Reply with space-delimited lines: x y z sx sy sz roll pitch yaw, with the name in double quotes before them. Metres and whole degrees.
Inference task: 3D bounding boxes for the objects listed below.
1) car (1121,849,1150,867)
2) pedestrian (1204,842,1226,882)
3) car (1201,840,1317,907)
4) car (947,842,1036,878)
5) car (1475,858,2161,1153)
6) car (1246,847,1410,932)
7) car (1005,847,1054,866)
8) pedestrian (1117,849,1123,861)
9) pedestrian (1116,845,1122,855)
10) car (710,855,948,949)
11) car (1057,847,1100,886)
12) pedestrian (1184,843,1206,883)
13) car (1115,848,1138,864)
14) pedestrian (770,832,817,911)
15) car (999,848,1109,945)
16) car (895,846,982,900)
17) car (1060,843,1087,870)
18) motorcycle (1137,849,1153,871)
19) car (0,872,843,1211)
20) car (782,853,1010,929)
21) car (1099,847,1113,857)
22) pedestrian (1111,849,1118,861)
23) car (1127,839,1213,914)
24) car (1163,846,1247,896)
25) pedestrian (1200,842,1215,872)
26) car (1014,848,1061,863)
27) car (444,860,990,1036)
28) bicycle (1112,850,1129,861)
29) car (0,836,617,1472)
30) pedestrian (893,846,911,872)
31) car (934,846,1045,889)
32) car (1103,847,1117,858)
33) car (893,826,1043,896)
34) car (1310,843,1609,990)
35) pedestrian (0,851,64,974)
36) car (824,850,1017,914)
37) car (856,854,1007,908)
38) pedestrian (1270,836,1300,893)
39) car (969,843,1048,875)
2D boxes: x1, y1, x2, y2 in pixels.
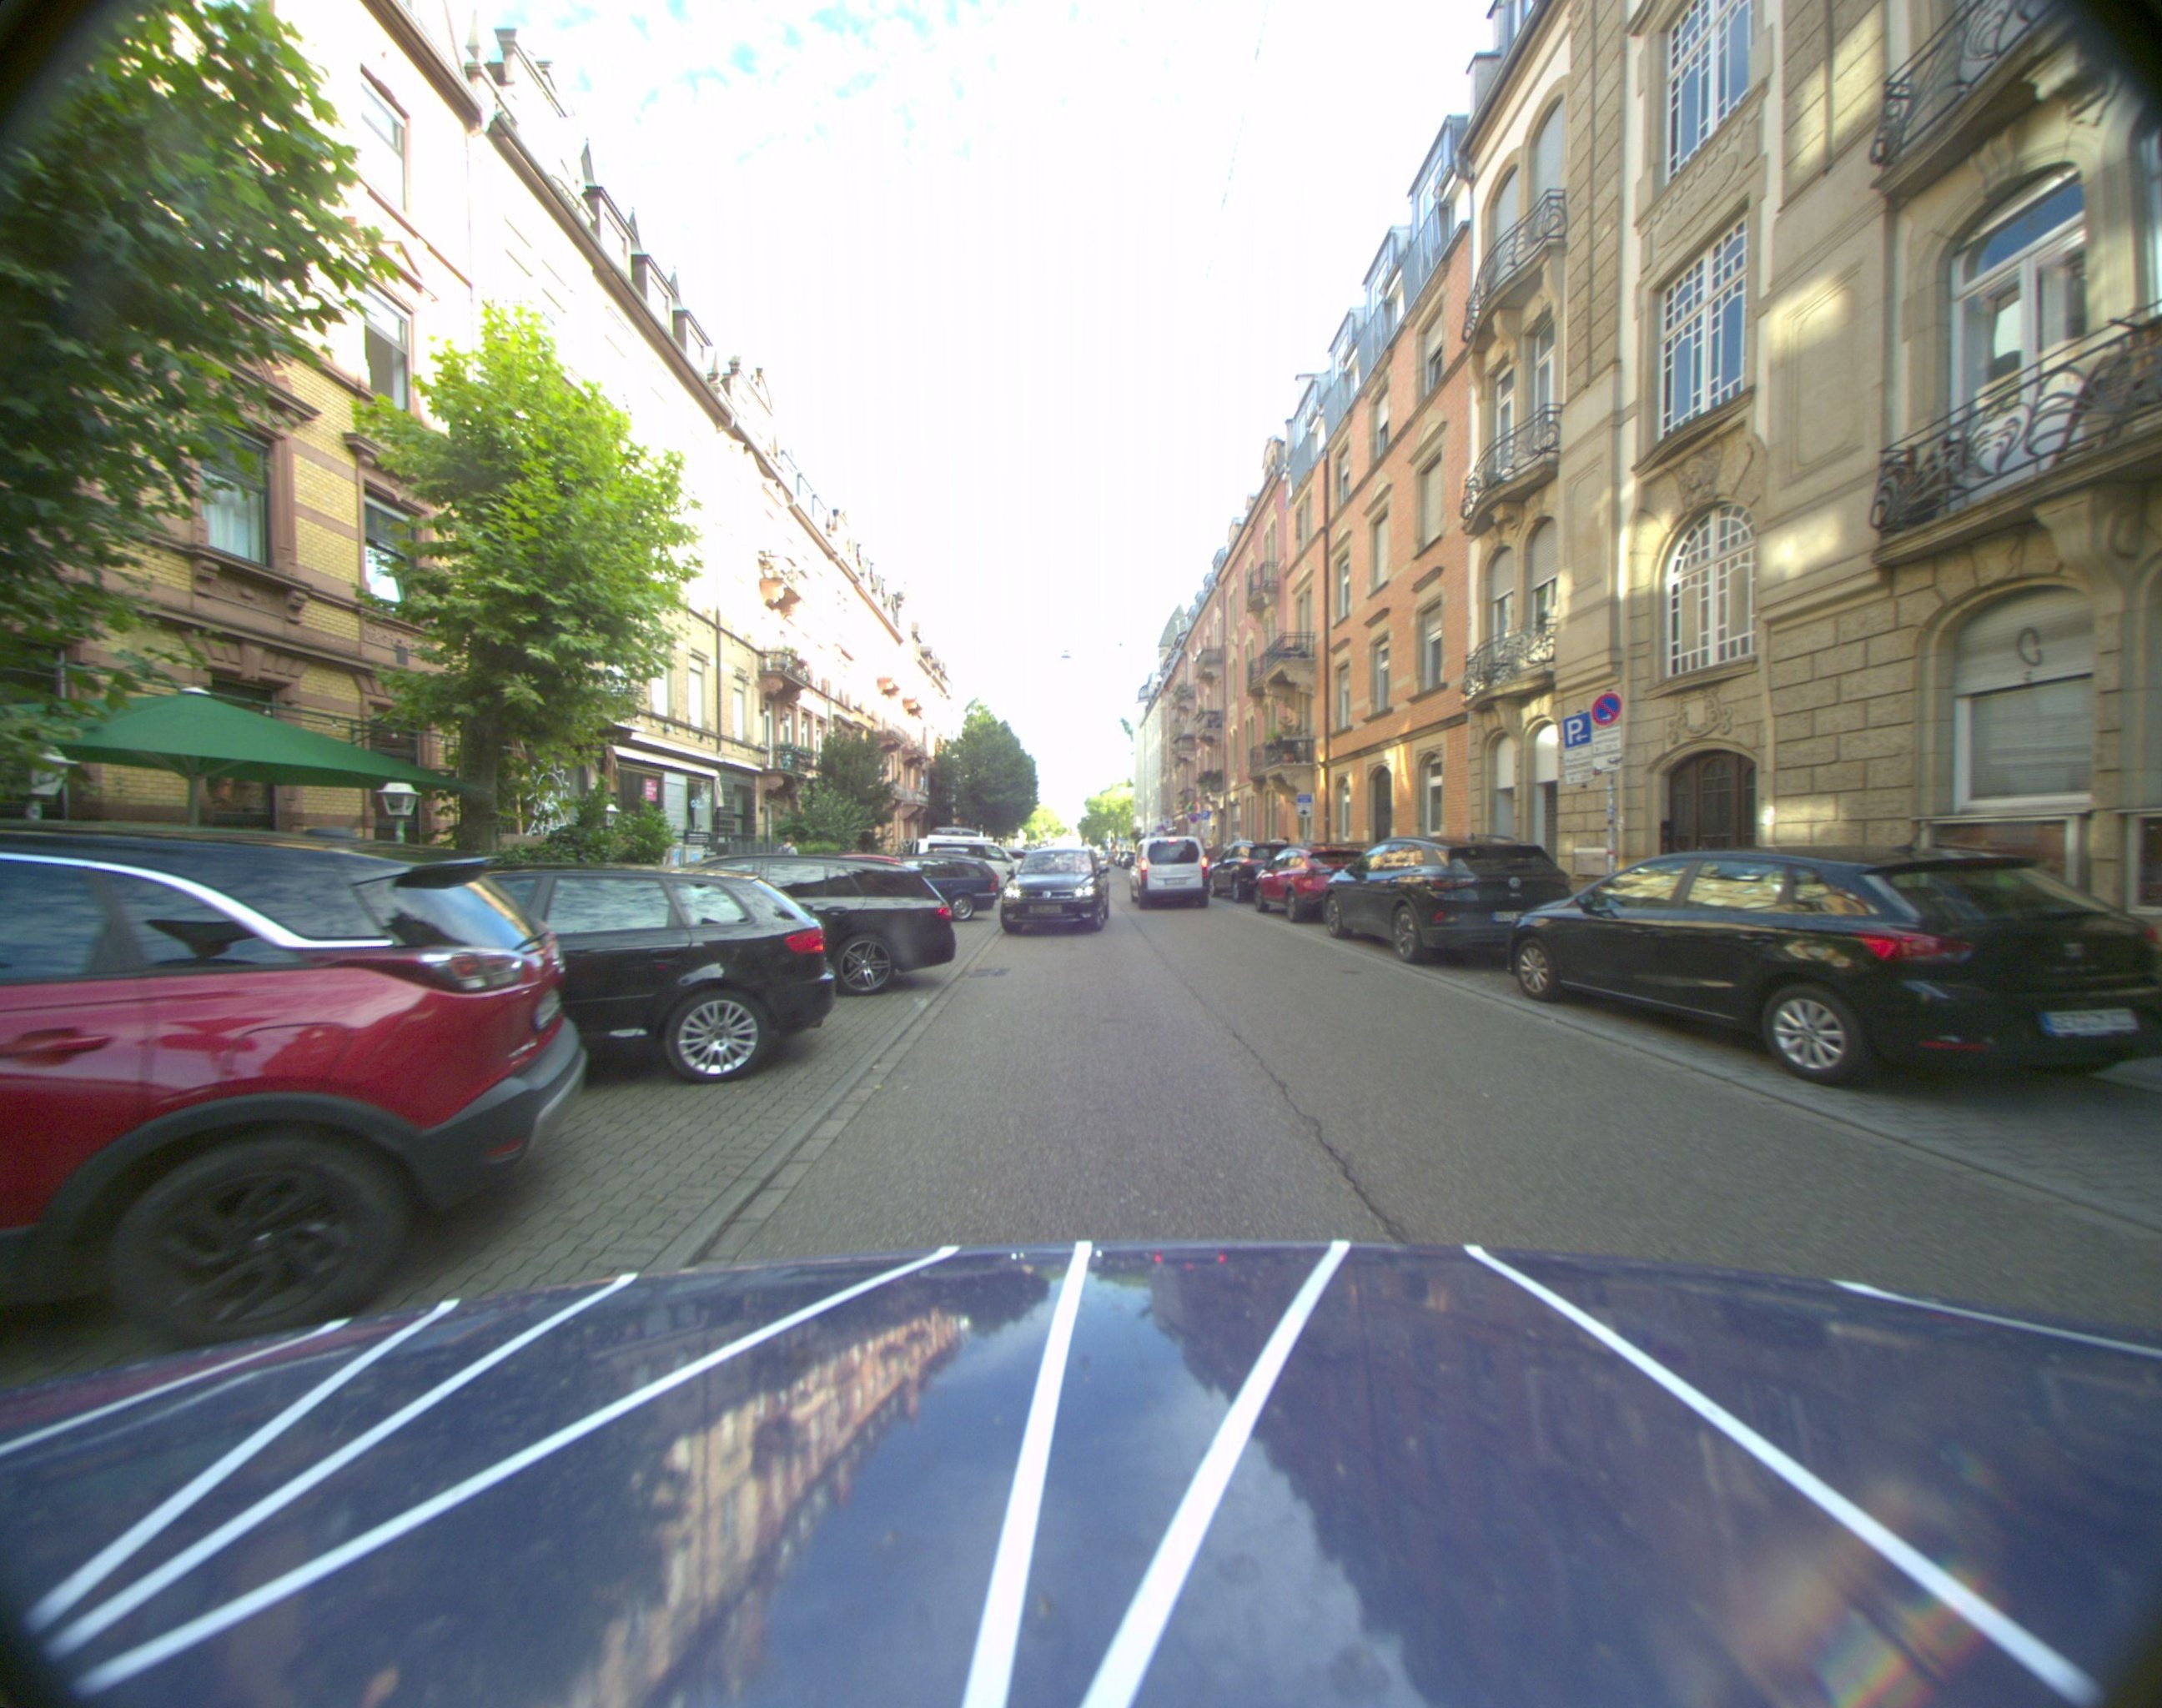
"car" 4.411 0.316 62.027 1.817 1.343 5.114 -1 1 -1
"pedestrian" 5.709 0.332 32.475 0.682 1.651 0.550 -2 1 -30
"car" 4.977 0.503 21.998 1.878 1.671 4.892 -2 0 -4
"car" -4.858 0.357 41.632 4.649 1.774 1.810 2 -1 -2
"car" 5.199 0.767 5.921 1.999 1.412 4.243 0 0 -1
"car" 5.048 0.634 16.264 1.999 1.536 4.425 0 1 -1
"car" -4.616 0.252 68.194 4.007 1.689 1.848 0 0 -35
"pedestrian" 4.392 0.080 85.798 0.689 1.365 0.739 -2 1 3
"pedestrian" 6.286 -0.687 125.062 0.845 1.699 0.879 -2 1 0
"car" -4.517 0.789 13.848 3.727 1.476 1.736 1 0 -38
"car" -0.082 0.533 35.037 1.811 1.622 4.000 -3 0 1
"pedestrian" 4.881 0.394 32.576 0.566 1.699 0.666 -3 1 -35
"car" 4.290 0.198 71.888 1.674 1.407 4.010 -2 1 -4
"pedestrian" -6.964 0.416 18.421 0.841 1.867 0.723 0 1 4
"car" -0.393 0.726 15.524 1.874 1.644 4.387 -2 1 2
"car" -4.691 0.638 25.061 2.473 1.656 1.344 3 -1 -27
"car" -0.531 0.185 57.672 1.811 1.914 4.000 -3 0 1
"motorcycle" 4.322 0.382 51.227 0.708 1.376 2.025 -2 1 14
"car" -4.000 0.901 5.000 4.421 1.448 1.938 0 1 -25
"car" -3.999 0.773 16.731 4.478 1.455 1.874 2 -1 -35
"car" 3.926 -0.303 120.630 1.911 1.412 3.999 -2 1 -1
"pedestrian" 3.839 0.130 86.393 0.739 1.341 0.644 -2 1 2
"car" 2.344 0.532 21.047 1.922 1.818 4.438 -2 1 2
"car" 4.358 0.539 27.650 1.830 1.569 5.261 -2 1 -4
"pedestrian" 7.196 0.161 43.218 0.665 1.686 0.763 -2 1 -1
"car" -4.814 0.179 84.478 4.817 1.535 1.865 1 1 -33
"car" -3.626 0.843 8.314 4.776 1.448 2.052 2 -1 -28
"bicycle" 4.368 0.148 84.693 1.872 1.168 0.687 -2 1 1
"car" -4.087 0.748 2.331 4.361 1.635 1.817 2 0 -26
"pedestrian" -10.330 0.294 43.839 0.930 1.488 0.811 1 1 -7
"car" -4.059 0.562 33.884 4.465 1.722 1.995 -1 0 -35
"car" 4.133 -0.186 108.329 1.828 1.477 4.169 -2 1 -1
"car" -4.122 0.226 28.152 5.169 2.391 1.913 0 1 -33
"car" 4.899 0.656 10.791 1.795 1.619 4.846 0 1 0
"pedestrian" -11.091 0.587 7.824 0.467 1.212 0.563 2 1 -9
"car" -4.062 0.718 19.633 4.479 1.468 1.884 3 -1 -40
"car" -4.332 0.748 22.365 4.003 1.451 1.746 1 0 -42
"pedestrian" 6.648 0.328 24.777 0.758 1.798 0.863 -2 1 3
"car" -4.372 0.328 45.882 4.412 1.812 1.750 1 1 -32
